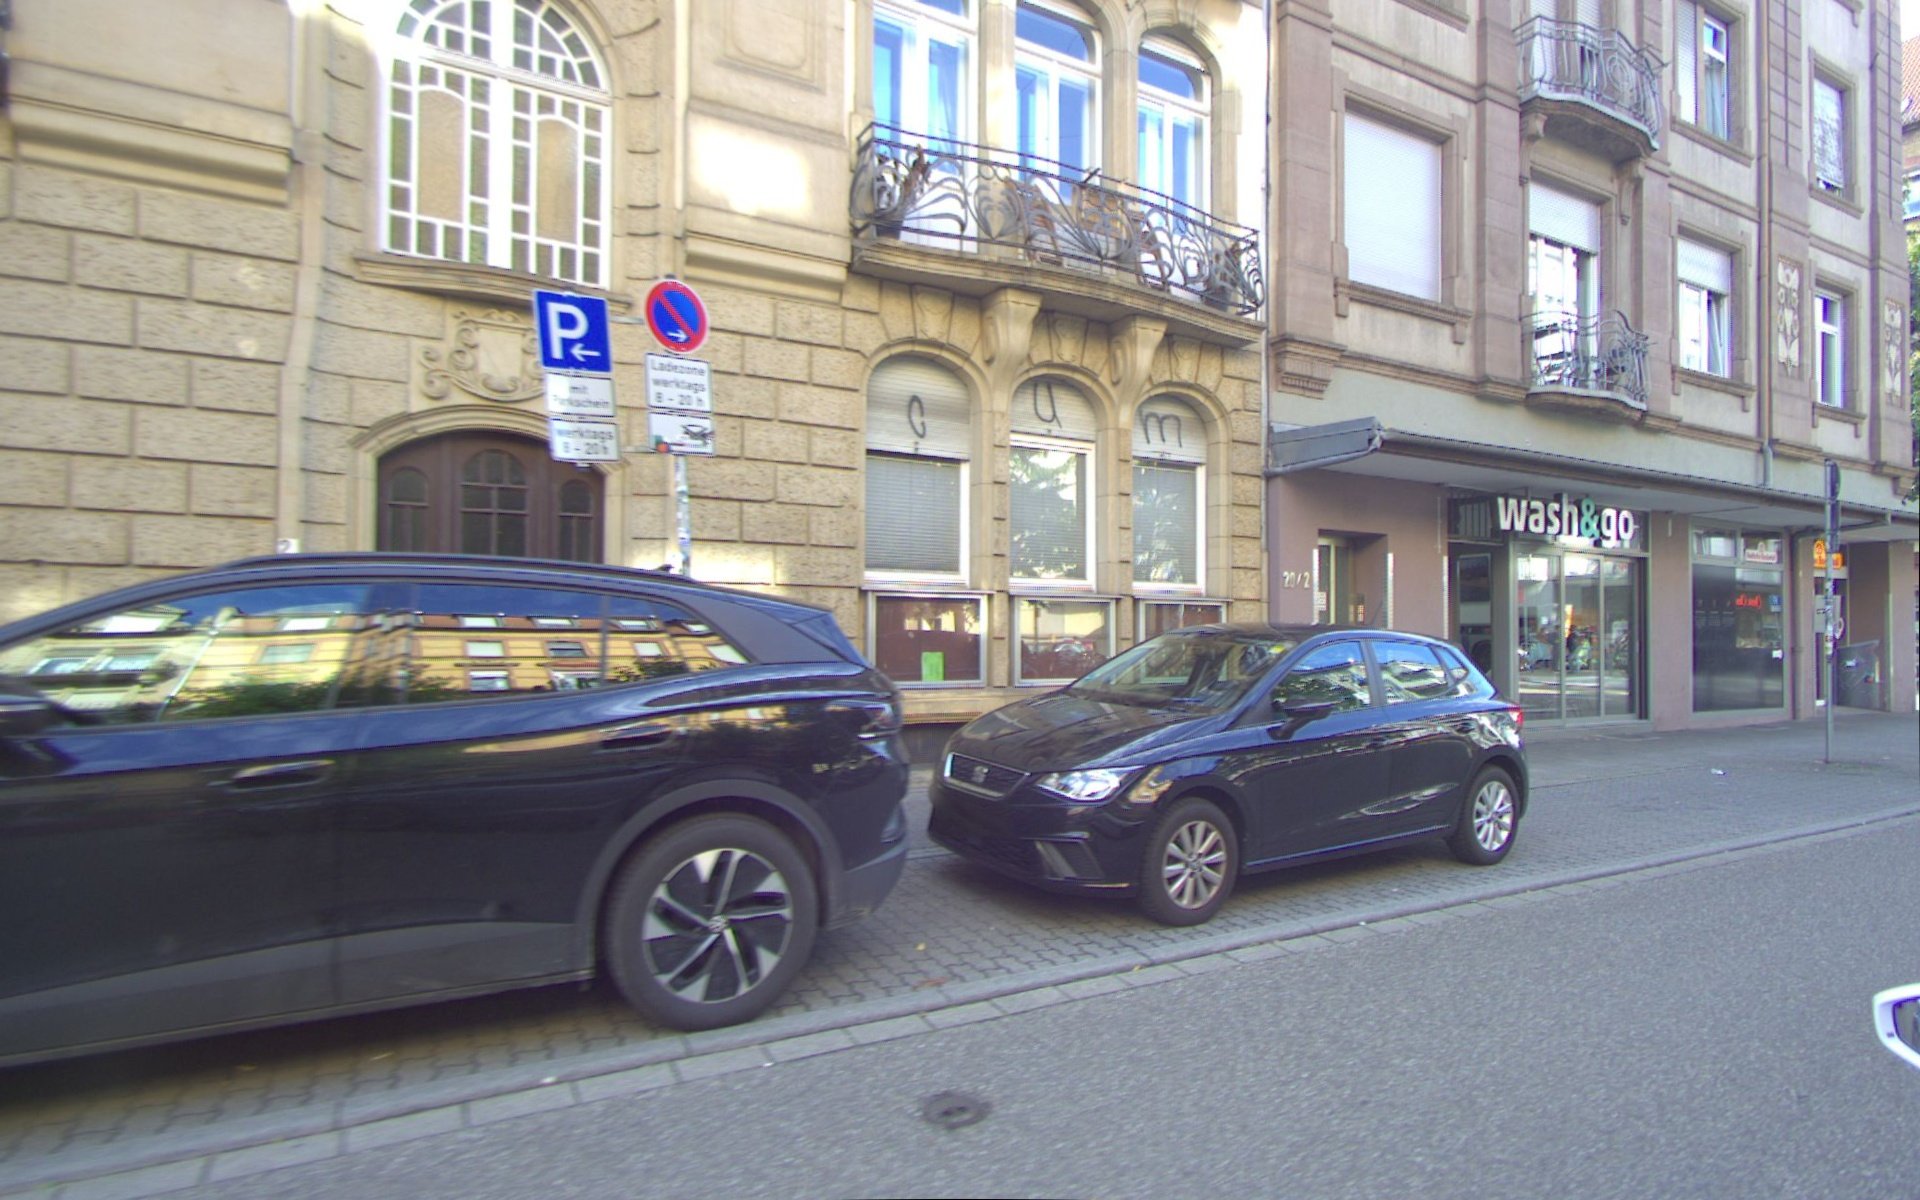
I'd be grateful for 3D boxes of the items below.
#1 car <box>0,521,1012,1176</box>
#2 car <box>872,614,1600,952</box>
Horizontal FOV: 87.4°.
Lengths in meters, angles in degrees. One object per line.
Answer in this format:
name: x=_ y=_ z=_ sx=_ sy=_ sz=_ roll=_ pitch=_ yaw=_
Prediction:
car: x=-2.310 y=0.667 z=3.626 sx=4.788 sy=1.650 sz=1.783 roll=2 pitch=-2 yaw=-29
car: x=1.767 y=0.849 z=6.211 sx=4.194 sy=1.439 sz=1.985 roll=1 pitch=-2 yaw=-30
